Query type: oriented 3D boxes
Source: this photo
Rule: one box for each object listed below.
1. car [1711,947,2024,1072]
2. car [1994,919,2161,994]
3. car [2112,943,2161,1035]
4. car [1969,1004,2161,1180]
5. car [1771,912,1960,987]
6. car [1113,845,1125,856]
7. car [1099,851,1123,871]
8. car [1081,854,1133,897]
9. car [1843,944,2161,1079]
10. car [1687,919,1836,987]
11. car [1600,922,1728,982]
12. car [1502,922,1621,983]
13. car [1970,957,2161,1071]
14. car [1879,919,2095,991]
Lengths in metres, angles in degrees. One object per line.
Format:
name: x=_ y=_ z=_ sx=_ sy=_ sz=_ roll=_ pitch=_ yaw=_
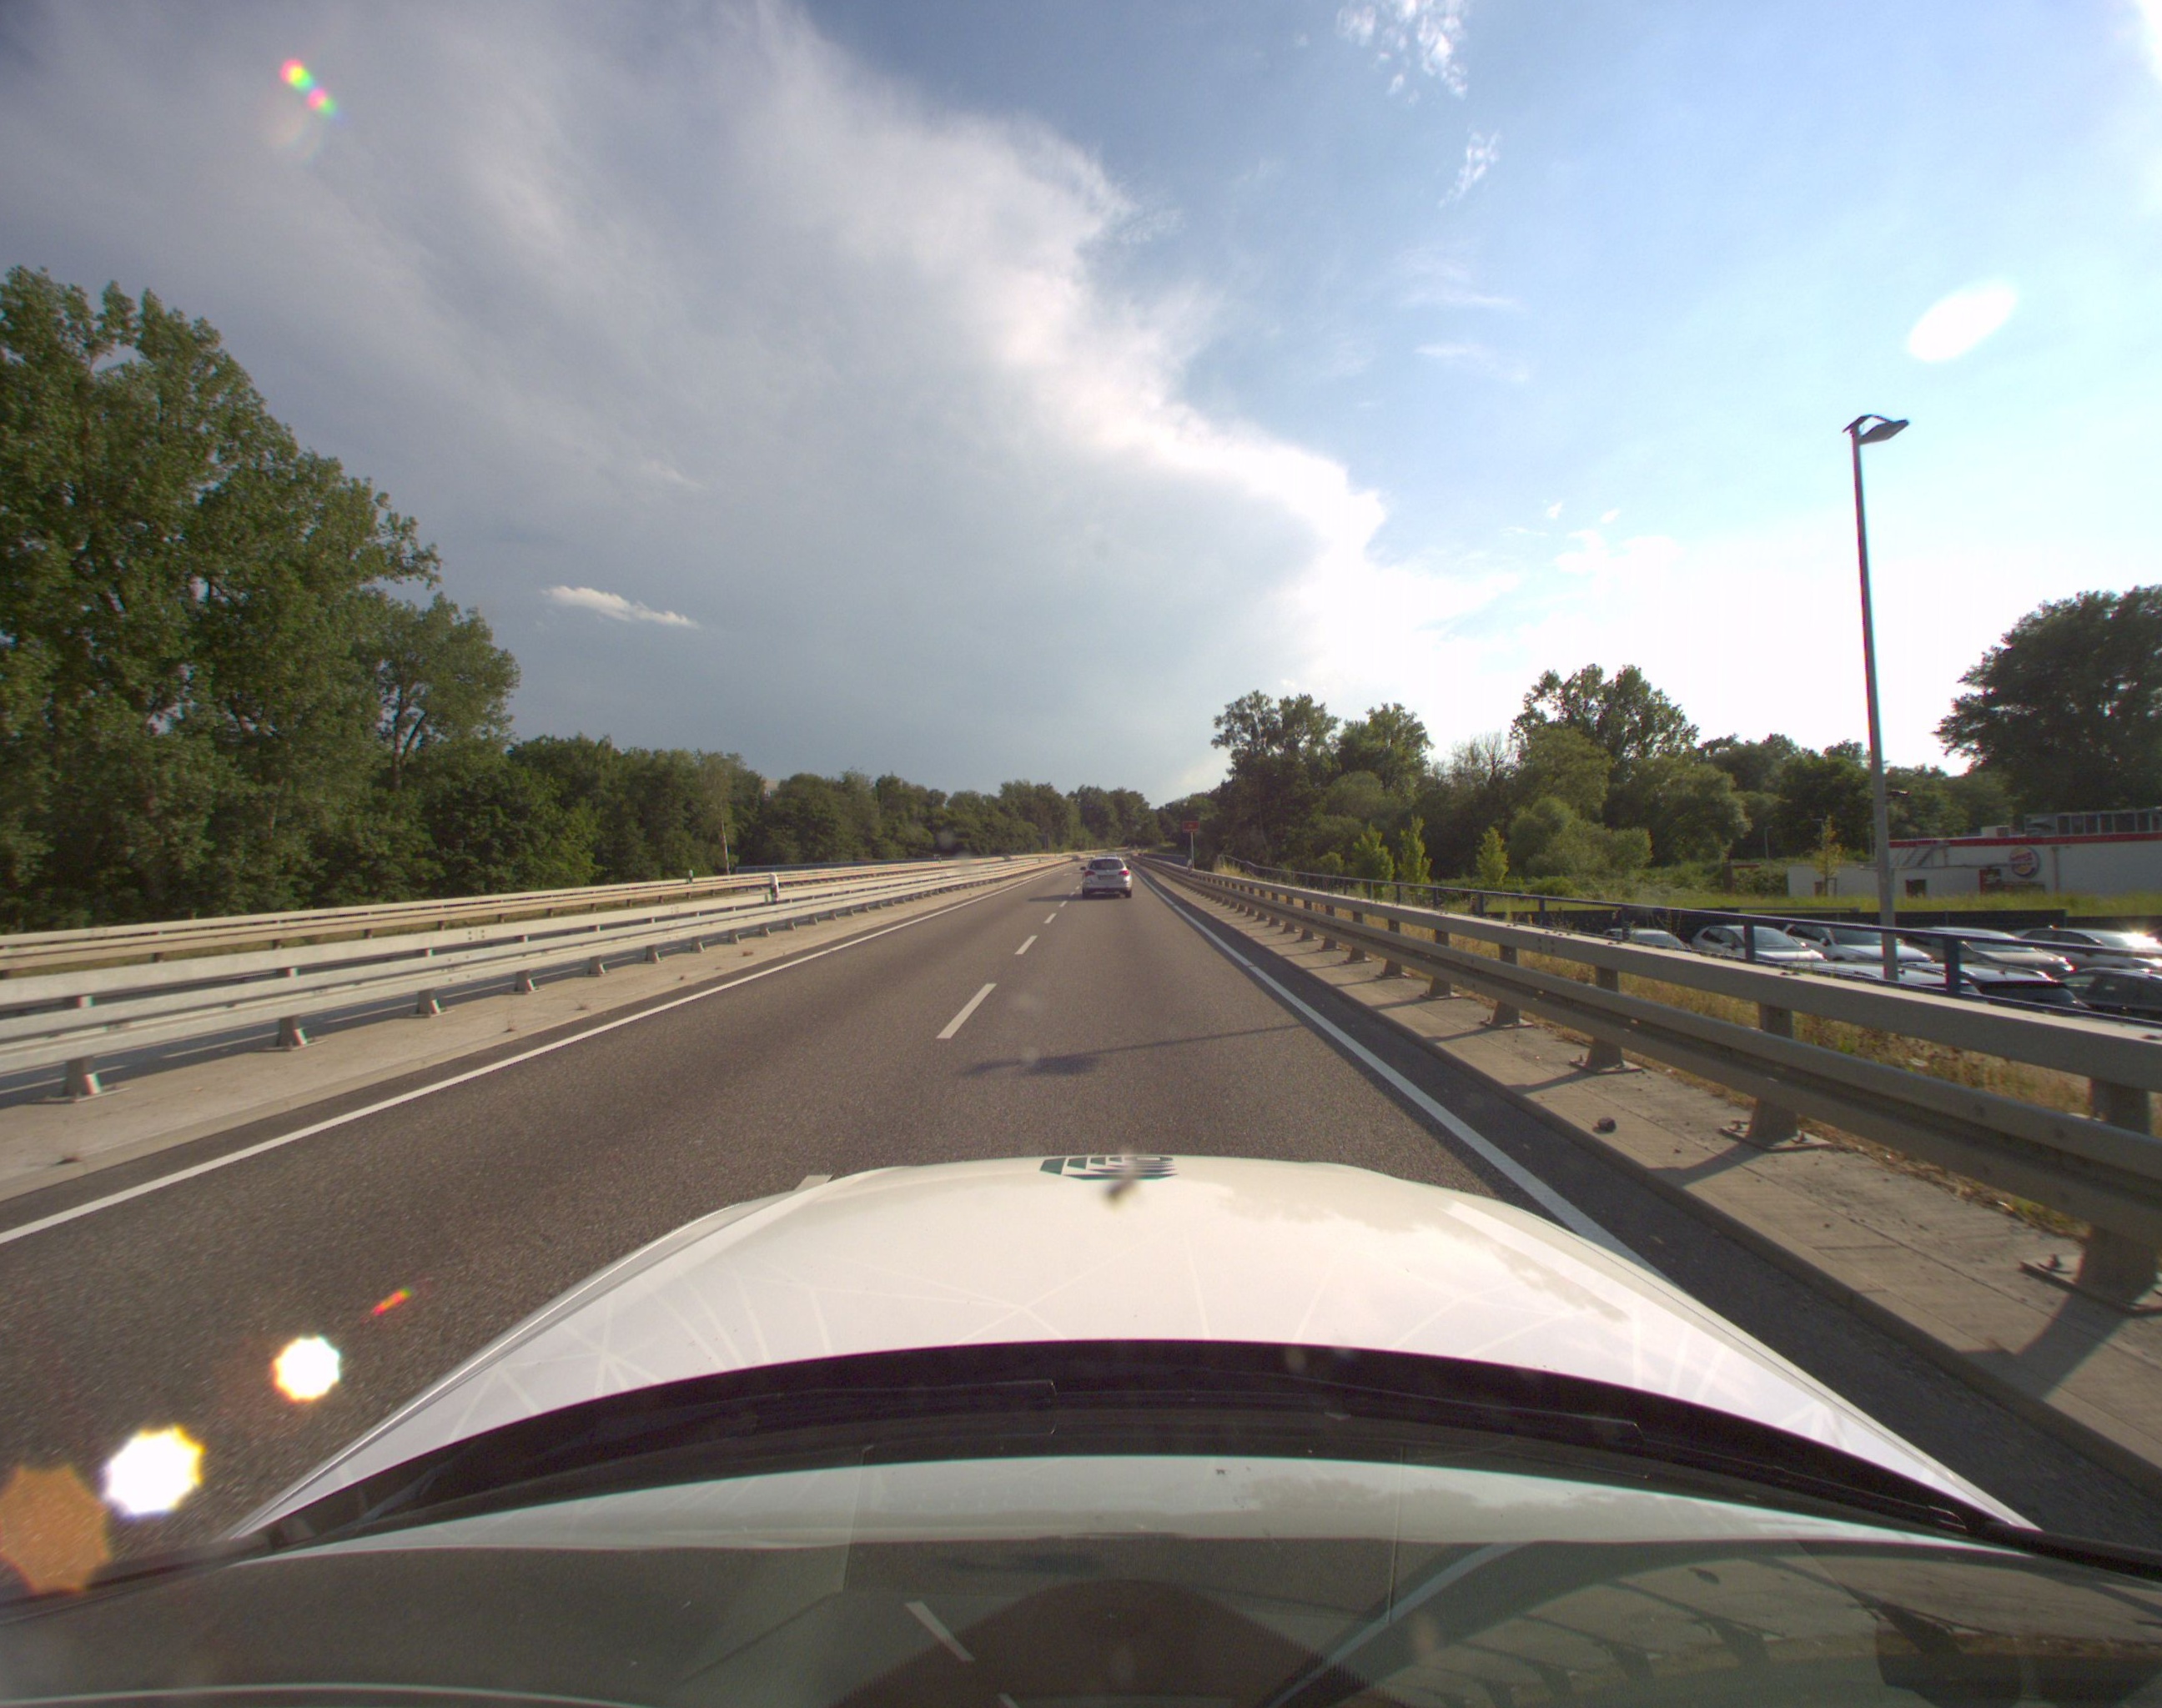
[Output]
car: x=13.395 y=2.581 z=14.275 sx=1.699 sy=1.464 sz=4.002 roll=0 pitch=-1 yaw=2
car: x=26.136 y=2.522 z=20.724 sx=1.939 sy=1.464 sz=4.015 roll=-1 pitch=-1 yaw=14
car: x=20.535 y=2.493 z=13.489 sx=1.697 sy=1.623 sz=4.362 roll=-1 pitch=-1 yaw=7
car: x=13.497 y=2.958 z=9.608 sx=1.768 sy=1.684 sz=4.002 roll=0 pitch=-1 yaw=3
car: x=21.782 y=2.586 z=22.889 sx=1.939 sy=1.642 sz=4.259 roll=-1 pitch=-1 yaw=14
car: x=7.263 y=-0.573 z=155.623 sx=1.988 sy=2.014 sz=3.997 roll=0 pitch=-1 yaw=-2
car: x=2.323 y=0.540 z=63.025 sx=1.802 sy=1.486 sz=4.001 roll=0 pitch=-1 yaw=1
car: x=0.959 y=0.771 z=30.233 sx=1.802 sy=1.486 sz=4.001 roll=0 pitch=-1 yaw=1
car: x=15.625 y=2.522 z=13.874 sx=1.698 sy=1.563 sz=4.004 roll=-1 pitch=-1 yaw=4
car: x=19.665 y=2.797 z=23.775 sx=1.804 sy=1.499 sz=4.016 roll=-1 pitch=-1 yaw=15
car: x=17.244 y=2.845 z=24.334 sx=1.804 sy=1.354 sz=4.016 roll=-1 pitch=-1 yaw=15
car: x=14.877 y=3.013 z=25.473 sx=1.697 sy=1.464 sz=4.007 roll=-1 pitch=-1 yaw=7
car: x=17.994 y=2.696 z=13.774 sx=1.698 sy=1.464 sz=4.004 roll=-1 pitch=-1 yaw=4
car: x=23.915 y=2.597 z=21.749 sx=1.939 sy=1.464 sz=4.015 roll=-1 pitch=-1 yaw=14
